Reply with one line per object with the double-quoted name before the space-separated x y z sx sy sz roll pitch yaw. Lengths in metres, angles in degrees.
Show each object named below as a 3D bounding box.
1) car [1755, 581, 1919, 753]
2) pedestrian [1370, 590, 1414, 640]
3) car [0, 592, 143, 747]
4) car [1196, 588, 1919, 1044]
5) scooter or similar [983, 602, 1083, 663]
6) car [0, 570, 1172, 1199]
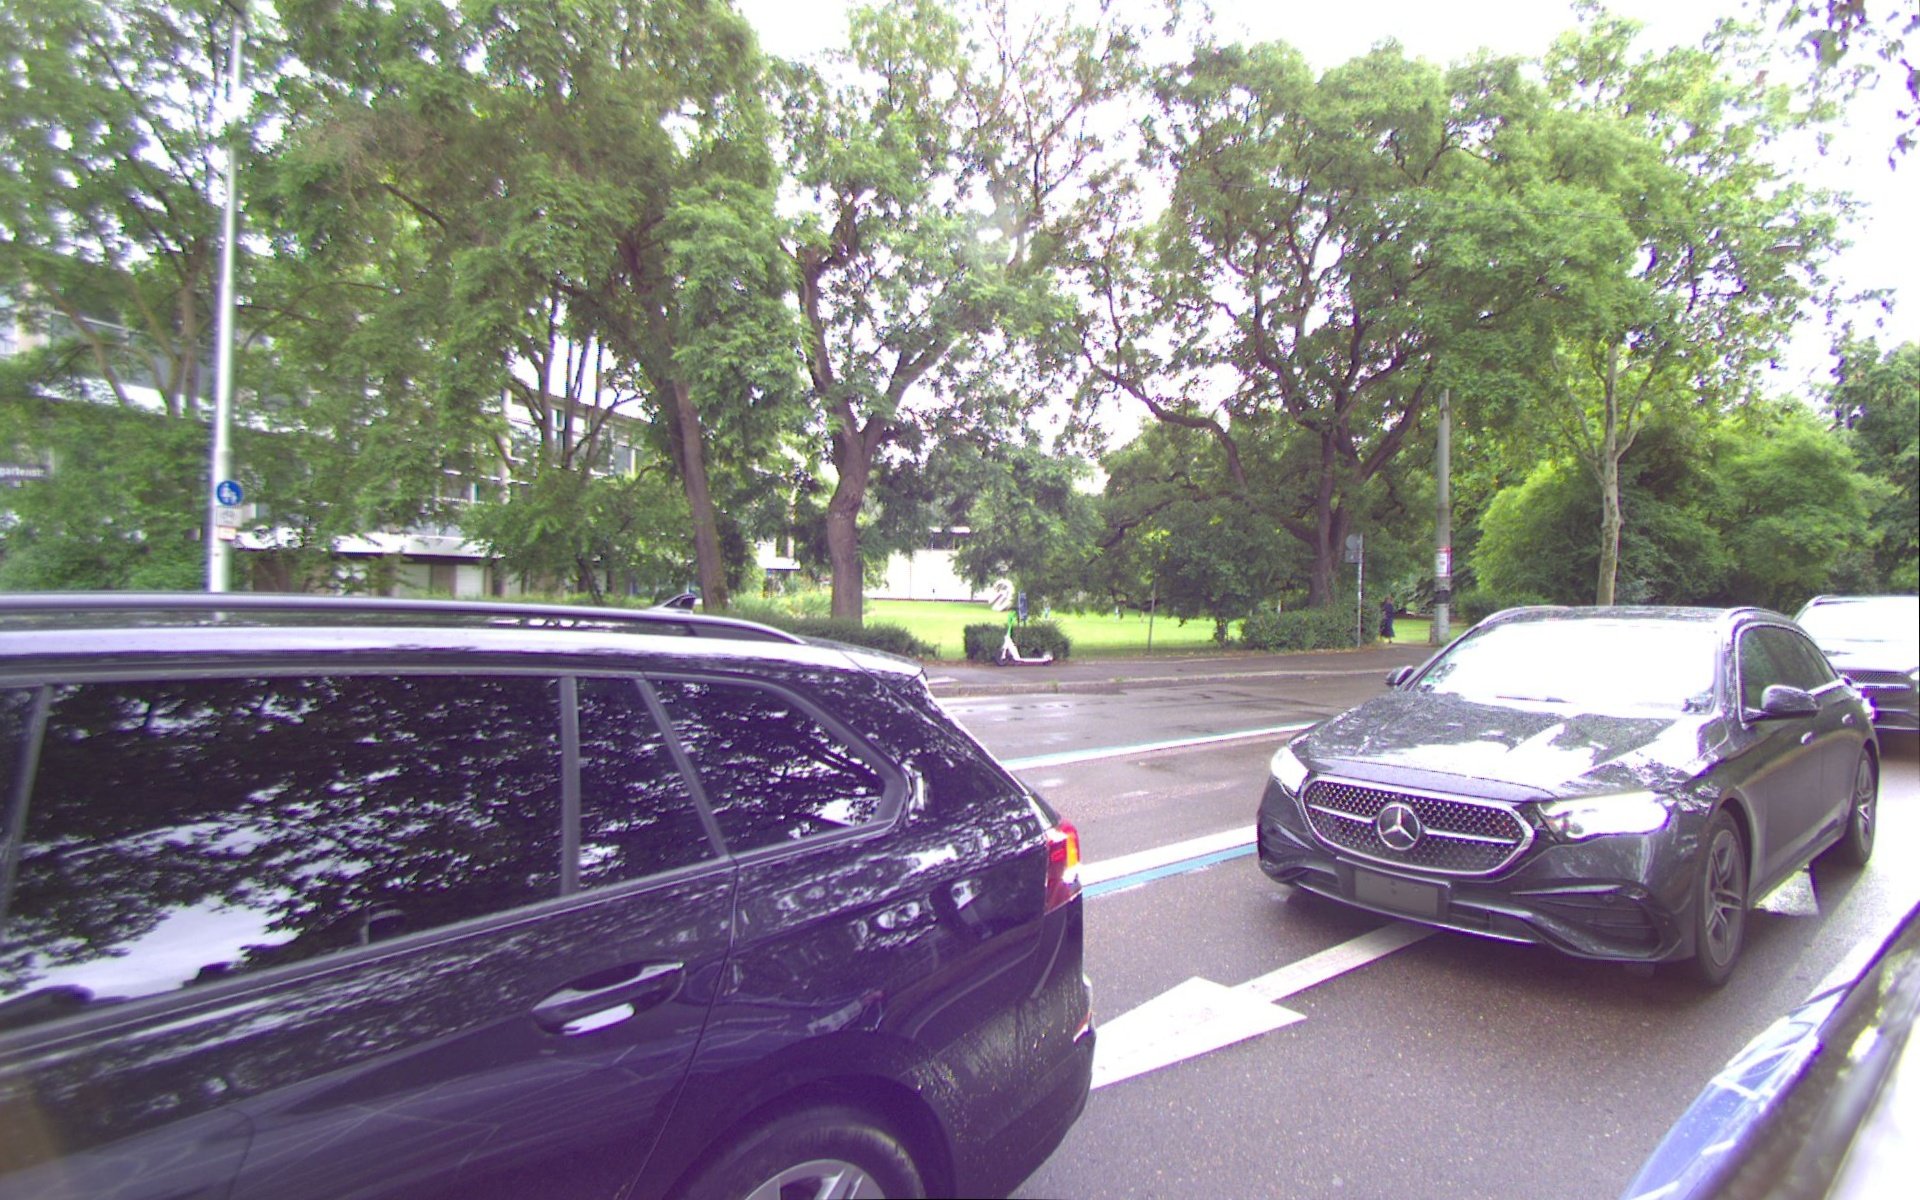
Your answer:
"car" 10.556 0.664 11.357 4.498 1.629 1.831 1 -1 -42
"pedestrian" 14.670 0.495 34.389 1.038 1.626 1.071 -1 0 1
"car" -11.072 0.649 9.963 4.311 1.468 1.872 0 0 -19
"car" 3.559 0.702 5.538 4.842 1.464 1.883 0 -1 -40
"scooter or similar" 1.443 0.645 19.980 1.851 1.114 0.559 2 2 -19
"car" -1.717 0.697 1.457 4.435 1.484 1.672 1 0 -42
